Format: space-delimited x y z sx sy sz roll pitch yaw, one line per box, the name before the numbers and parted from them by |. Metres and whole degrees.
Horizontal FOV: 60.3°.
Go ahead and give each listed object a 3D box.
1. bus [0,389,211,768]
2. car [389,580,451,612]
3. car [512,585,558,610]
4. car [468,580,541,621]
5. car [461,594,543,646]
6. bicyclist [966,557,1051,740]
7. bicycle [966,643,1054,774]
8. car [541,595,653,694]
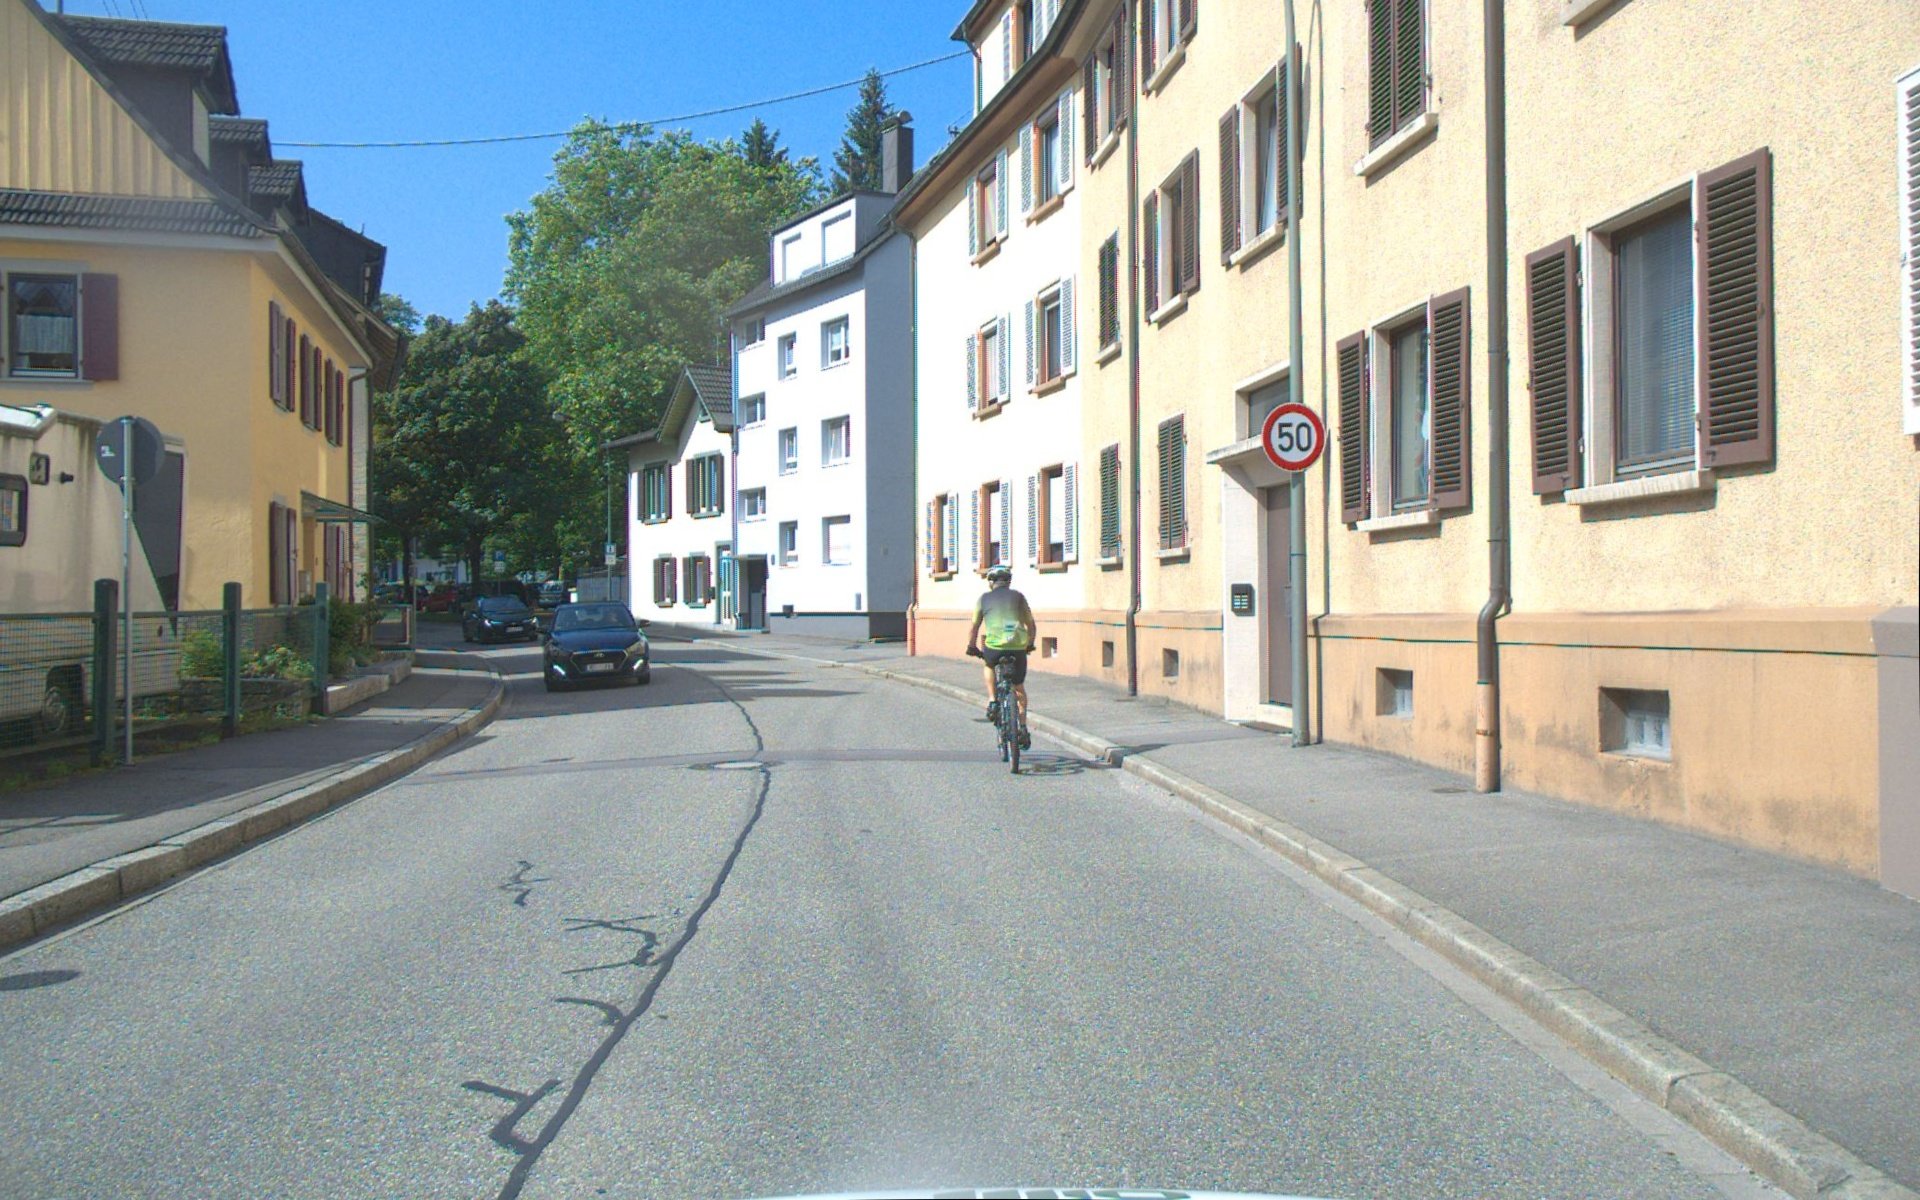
bus | -9.708 -0.203 14.367 2.764 3.284 9.029 1 0 -4
car | -28.231 -0.224 86.404 1.699 1.569 3.941 -2 2 -41
car | -23.232 -0.125 90.304 1.565 1.279 3.822 -2 1 -28
car | -21.293 -0.006 77.230 1.812 1.822 3.941 -2 2 -41
car | -14.549 0.625 52.399 1.639 1.474 4.221 -4 1 -27
bicyclist | 0.420 0.419 14.651 0.672 1.558 0.715 -1 0 -3
bicycle | 0.425 0.936 14.686 0.684 1.053 1.470 0 0 -2
car | -6.389 0.735 29.447 1.717 1.478 4.017 -4 1 -11
